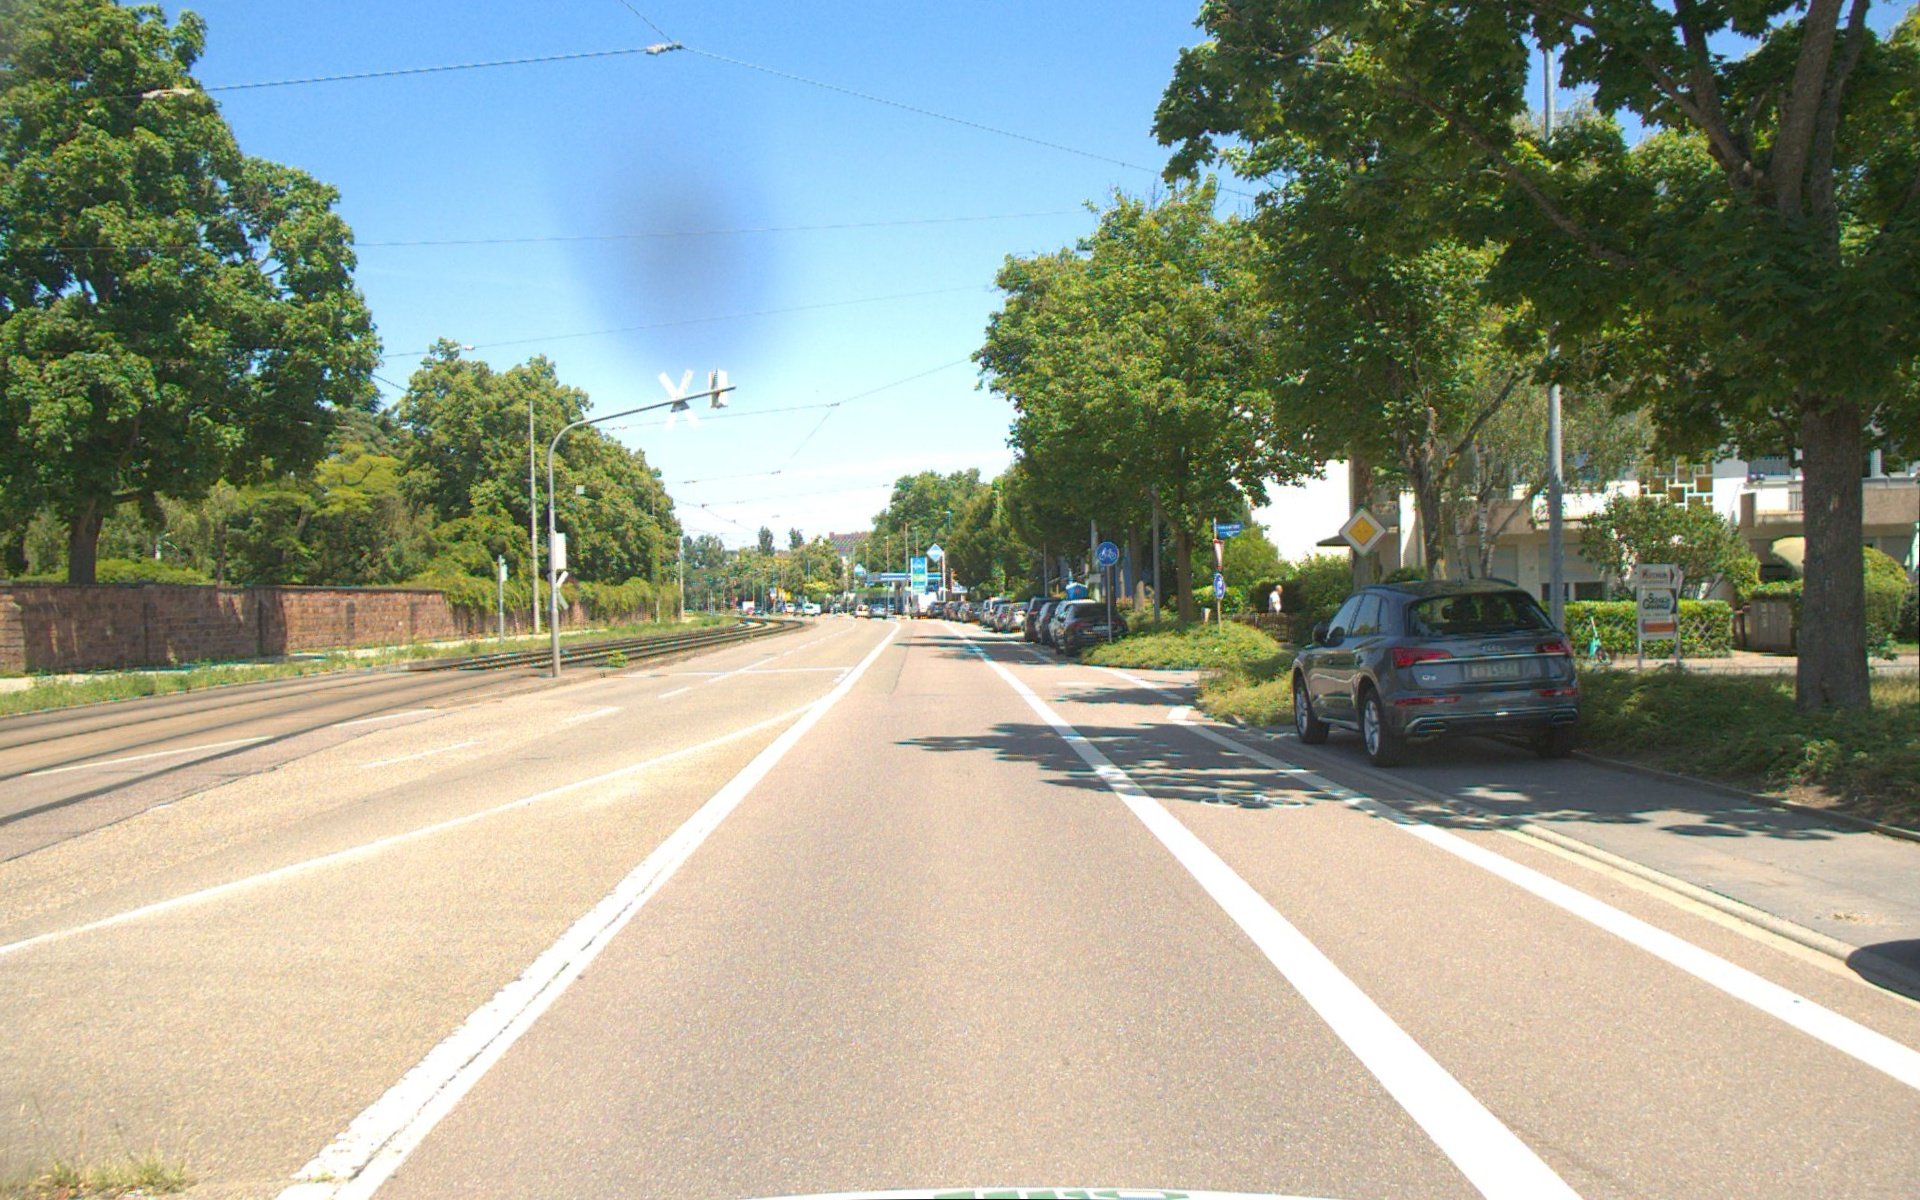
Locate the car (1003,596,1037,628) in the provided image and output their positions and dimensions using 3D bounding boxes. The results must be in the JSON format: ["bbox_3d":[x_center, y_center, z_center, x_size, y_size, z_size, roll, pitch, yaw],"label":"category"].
[{"bbox_3d":[3.167,0.626,87.695,1.488,1.556,3.815,-3,0,-1],"label":"car"}]

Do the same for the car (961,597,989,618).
[{"bbox_3d":[1.160,0.544,130.672,1.674,1.518,5.033,-3,0,-5],"label":"car"}]

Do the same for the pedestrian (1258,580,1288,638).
[{"bbox_3d":[9.577,0.273,50.572,0.733,1.752,0.632,0,0,-8],"label":"pedestrian"}]

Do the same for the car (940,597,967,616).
[{"bbox_3d":[-0.600,0.554,147.722,1.675,1.589,4.315,-3,0,-9],"label":"car"}]

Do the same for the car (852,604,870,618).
[{"bbox_3d":[-12.115,1.324,202.870,1.723,1.659,4.315,-3,0,-9],"label":"car"}]

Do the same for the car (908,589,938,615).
[{"bbox_3d":[-3.779,0.196,167.731,1.966,2.499,6.092,-3,0,-11],"label":"car"}]

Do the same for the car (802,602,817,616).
[{"bbox_3d":[-22.708,1.331,248.976,1.724,1.907,4.313,-3,0,-10],"label":"car"}]

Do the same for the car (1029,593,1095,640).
[{"bbox_3d":[3.667,0.569,60.029,1.804,1.556,4.350,-3,0,-4],"label":"car"}]

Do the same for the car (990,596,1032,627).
[{"bbox_3d":[2.832,0.632,92.694,1.804,1.556,4.962,-3,0,-4],"label":"car"}]

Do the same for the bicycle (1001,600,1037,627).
[{"bbox_3d":[3.063,0.696,85.653,1.737,1.249,0.684,-6,-1,3],"label":"bicycle"}]

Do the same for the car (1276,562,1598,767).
[{"bbox_3d":[4.551,0.575,16.564,1.678,1.661,4.707,-3,0,-1],"label":"car"}]

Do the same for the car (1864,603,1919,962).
[{"bbox_3d":[4.806,0.706,4.671,1.678,1.443,4.705,-3,0,-3],"label":"car"}]

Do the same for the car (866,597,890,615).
[{"bbox_3d":[-8.172,0.569,164.176,1.724,1.659,4.313,-3,0,-10],"label":"car"}]

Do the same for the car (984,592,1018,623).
[{"bbox_3d":[2.628,0.476,107.670,1.804,1.825,4.351,-3,0,-3],"label":"car"}]

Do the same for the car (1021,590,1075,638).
[{"bbox_3d":[3.450,0.507,65.782,1.803,1.736,4.626,-3,0,0],"label":"car"}]

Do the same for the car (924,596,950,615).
[{"bbox_3d":[-2.194,0.541,157.655,1.724,1.659,4.313,-3,0,-10],"label":"car"}]

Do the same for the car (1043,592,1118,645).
[{"bbox_3d":[3.934,0.575,54.589,1.805,1.556,4.202,-3,0,-4],"label":"car"}]

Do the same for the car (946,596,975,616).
[{"bbox_3d":[0.048,0.543,141.823,1.676,1.589,4.313,-3,0,-10],"label":"car"}]

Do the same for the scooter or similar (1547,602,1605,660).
[{"bbox_3d":[13.848,0.696,37.203,1.159,1.293,0.602,-1,0,15],"label":"scooter or similar"}]

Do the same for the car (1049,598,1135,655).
[{"bbox_3d":[3.777,0.724,48.185,1.804,1.461,4.821,-3,0,-3],"label":"car"}]
